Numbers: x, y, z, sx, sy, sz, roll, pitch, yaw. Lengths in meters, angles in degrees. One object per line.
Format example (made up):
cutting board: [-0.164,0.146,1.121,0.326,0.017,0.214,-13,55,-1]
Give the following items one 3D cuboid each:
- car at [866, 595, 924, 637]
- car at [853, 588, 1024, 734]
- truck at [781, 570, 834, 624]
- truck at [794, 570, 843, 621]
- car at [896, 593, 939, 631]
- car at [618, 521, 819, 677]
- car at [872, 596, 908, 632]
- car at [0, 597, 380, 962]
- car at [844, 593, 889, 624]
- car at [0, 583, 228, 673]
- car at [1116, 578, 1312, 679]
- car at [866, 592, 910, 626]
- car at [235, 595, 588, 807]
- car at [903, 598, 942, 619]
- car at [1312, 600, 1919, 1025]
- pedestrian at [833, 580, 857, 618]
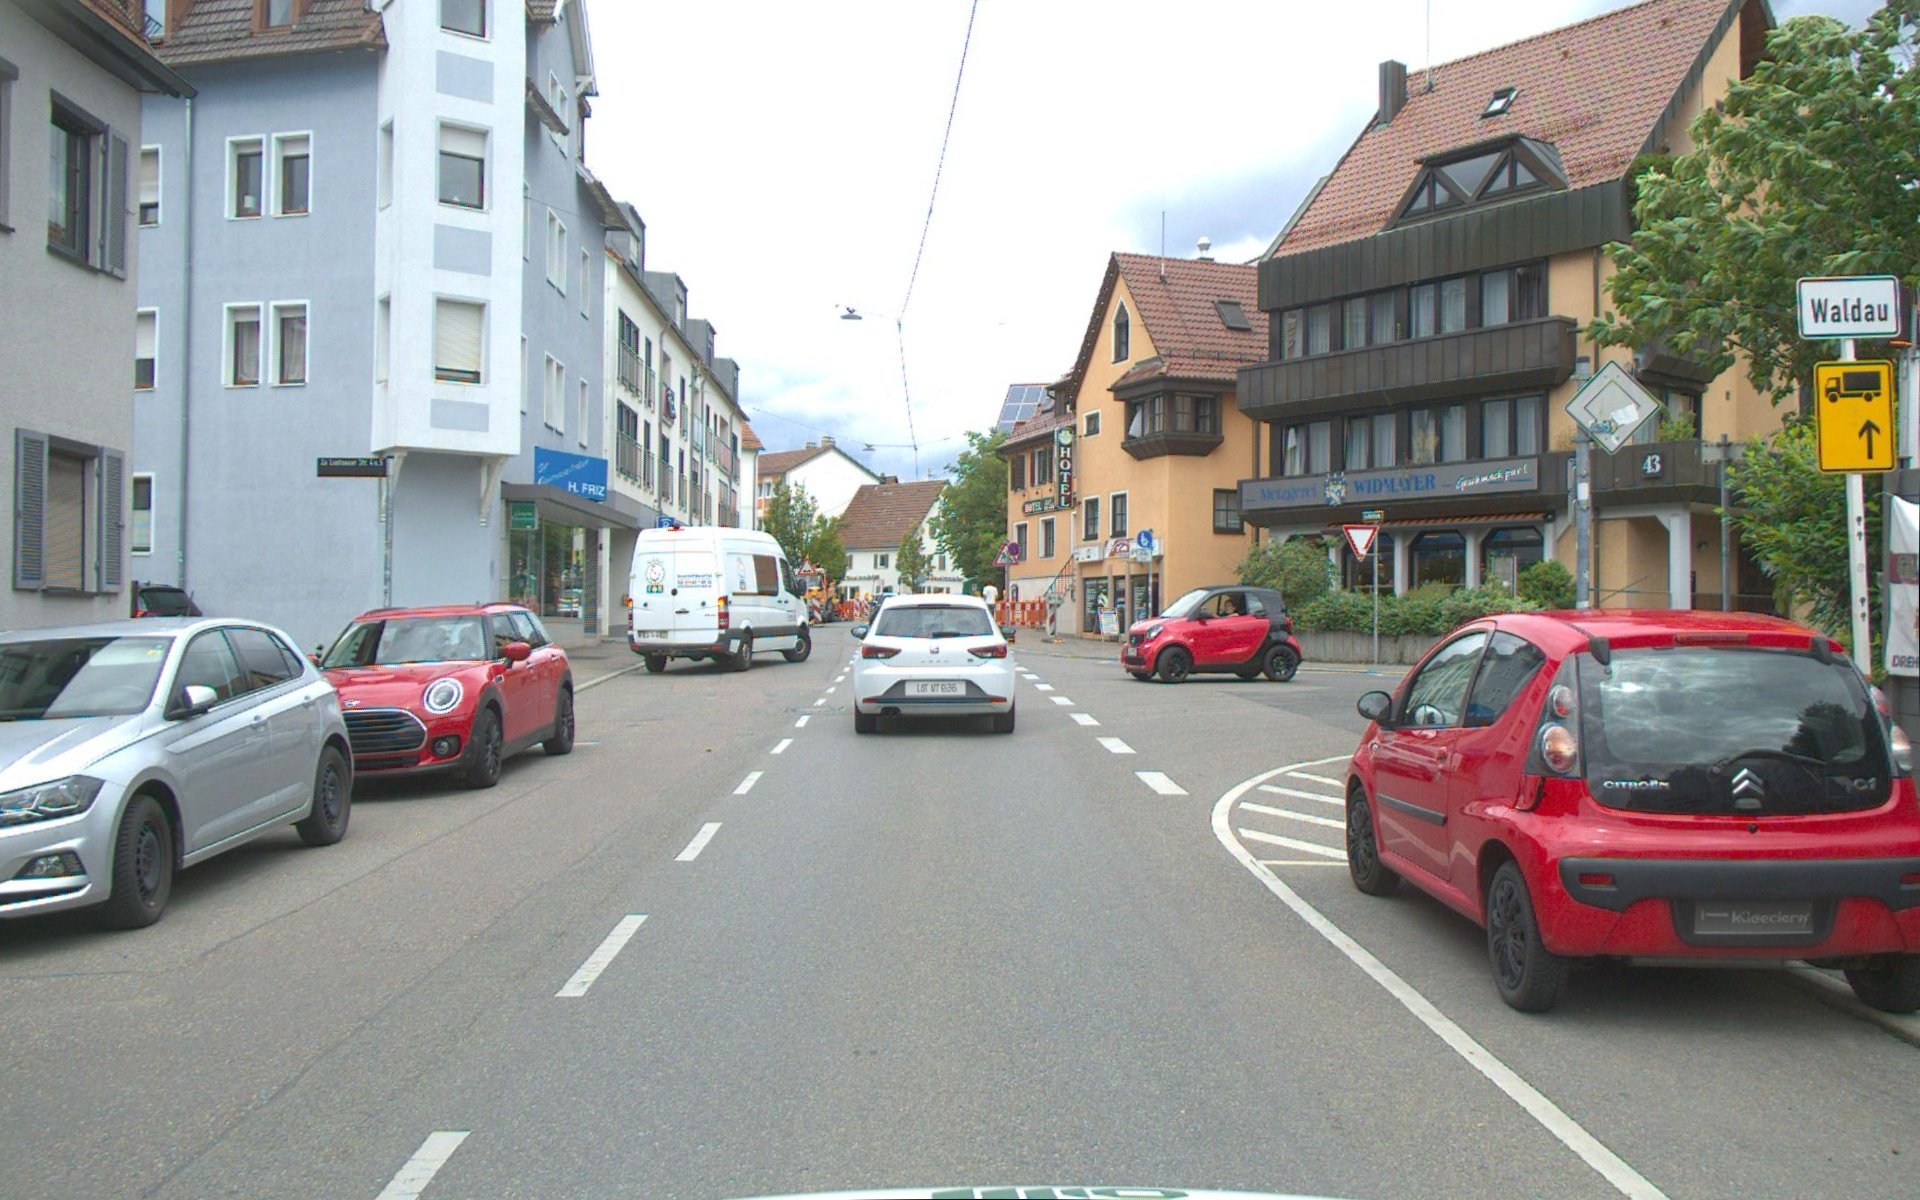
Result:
car: [-2.394,0.551,59.806,1.725,1.477,3.993,0,0,-8]
car: [-0.251,0.614,18.716,1.723,1.477,3.999,0,0,-1]
truck: [-7.335,-0.168,80.064,2.108,2.502,5.394,1,0,-1]
truck: [-7.319,-0.255,85.977,2.108,2.502,5.394,1,0,-1]
car: [-1.732,0.462,68.047,1.726,1.524,3.788,0,0,-1]
car: [-4.553,-0.030,32.179,2.106,2.734,5.549,1,0,11]
car: [-3.725,0.711,88.661,1.758,1.862,3.999,0,0,-1]
car: [-4.694,0.780,8.881,1.763,1.505,4.049,-3,0,-2]
car: [-5.418,0.488,96.387,1.756,1.731,4.003,0,0,9]
car: [-15.570,0.472,30.171,3.803,1.418,1.820,2,2,18]
car: [4.163,0.454,27.309,2.759,1.538,1.703,1,1,-13]
car: [-3.201,0.378,74.195,1.722,1.477,4.000,0,0,1]
car: [-4.570,0.752,14.434,1.763,1.505,4.049,-3,0,-2]
car: [-2.592,0.578,115.632,1.721,1.477,4.003,0,0,14]
car: [2.914,0.738,7.747,1.722,1.477,4.000,0,0,1]
pedestrian: [-6.301,-0.074,90.560,1.203,2.049,1.175,0,0,-1]
